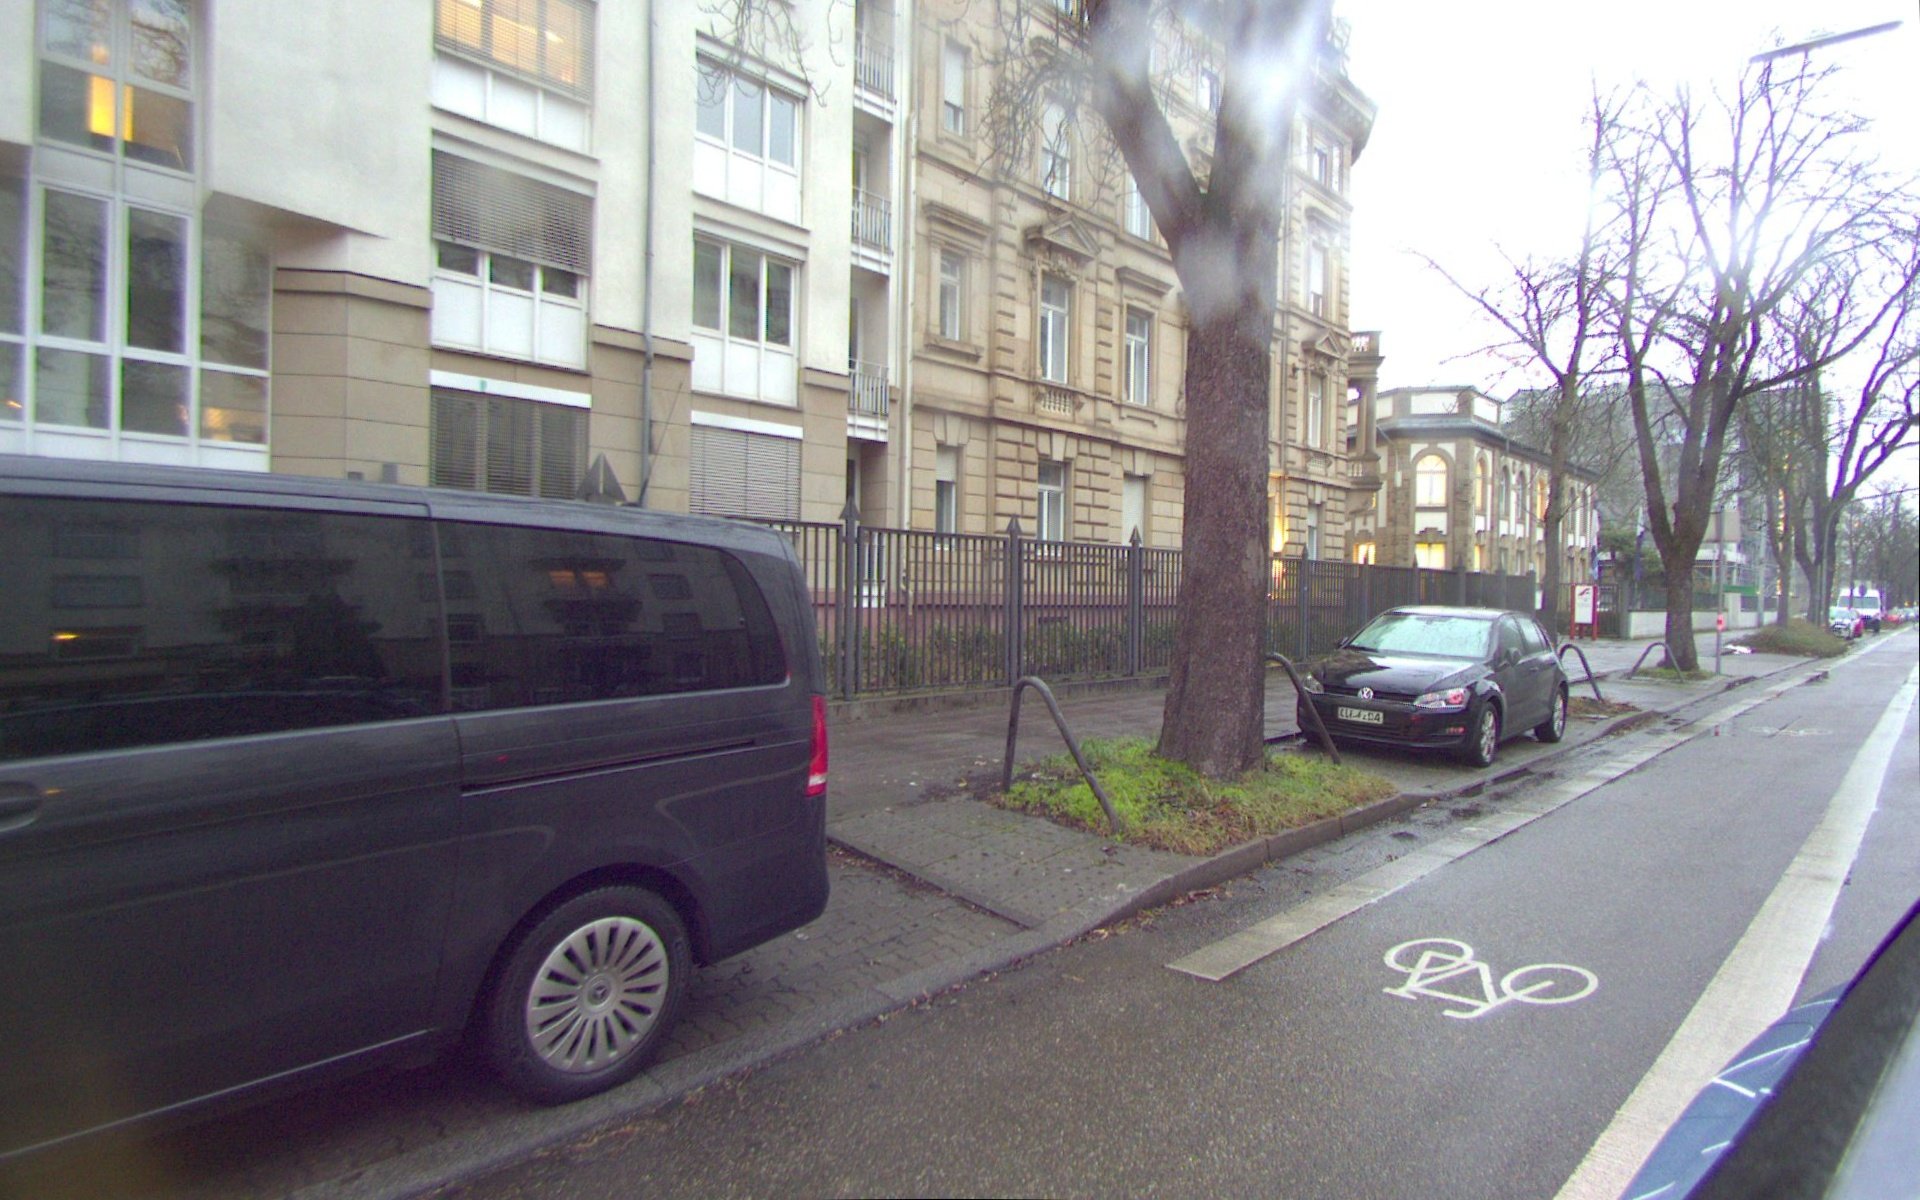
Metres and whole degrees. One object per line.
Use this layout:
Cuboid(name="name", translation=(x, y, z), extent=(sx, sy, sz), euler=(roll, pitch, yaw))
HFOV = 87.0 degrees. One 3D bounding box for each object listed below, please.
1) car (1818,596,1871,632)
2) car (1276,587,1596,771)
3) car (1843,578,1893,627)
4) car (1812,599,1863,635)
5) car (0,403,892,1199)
Cuboid(name="car", translation=(44.941, 0.685, 51.404), extent=(1.992, 1.703, 3.939), euler=(0, 1, 42))
Cuboid(name="car", translation=(5.107, 0.676, 10.581), extent=(1.758, 1.463, 4.091), euler=(4, 2, 44))
Cuboid(name="car", translation=(52.073, 0.098, 58.066), extent=(2.086, 2.670, 5.367), euler=(0, 1, 42))
Cuboid(name="car", translation=(38.225, 0.708, 44.041), extent=(1.623, 1.425, 3.939), euler=(0, 1, 42))
Cuboid(name="car", translation=(-2.707, 0.516, 2.748), extent=(4.882, 1.899, 2.032), euler=(0, 2, -45))
